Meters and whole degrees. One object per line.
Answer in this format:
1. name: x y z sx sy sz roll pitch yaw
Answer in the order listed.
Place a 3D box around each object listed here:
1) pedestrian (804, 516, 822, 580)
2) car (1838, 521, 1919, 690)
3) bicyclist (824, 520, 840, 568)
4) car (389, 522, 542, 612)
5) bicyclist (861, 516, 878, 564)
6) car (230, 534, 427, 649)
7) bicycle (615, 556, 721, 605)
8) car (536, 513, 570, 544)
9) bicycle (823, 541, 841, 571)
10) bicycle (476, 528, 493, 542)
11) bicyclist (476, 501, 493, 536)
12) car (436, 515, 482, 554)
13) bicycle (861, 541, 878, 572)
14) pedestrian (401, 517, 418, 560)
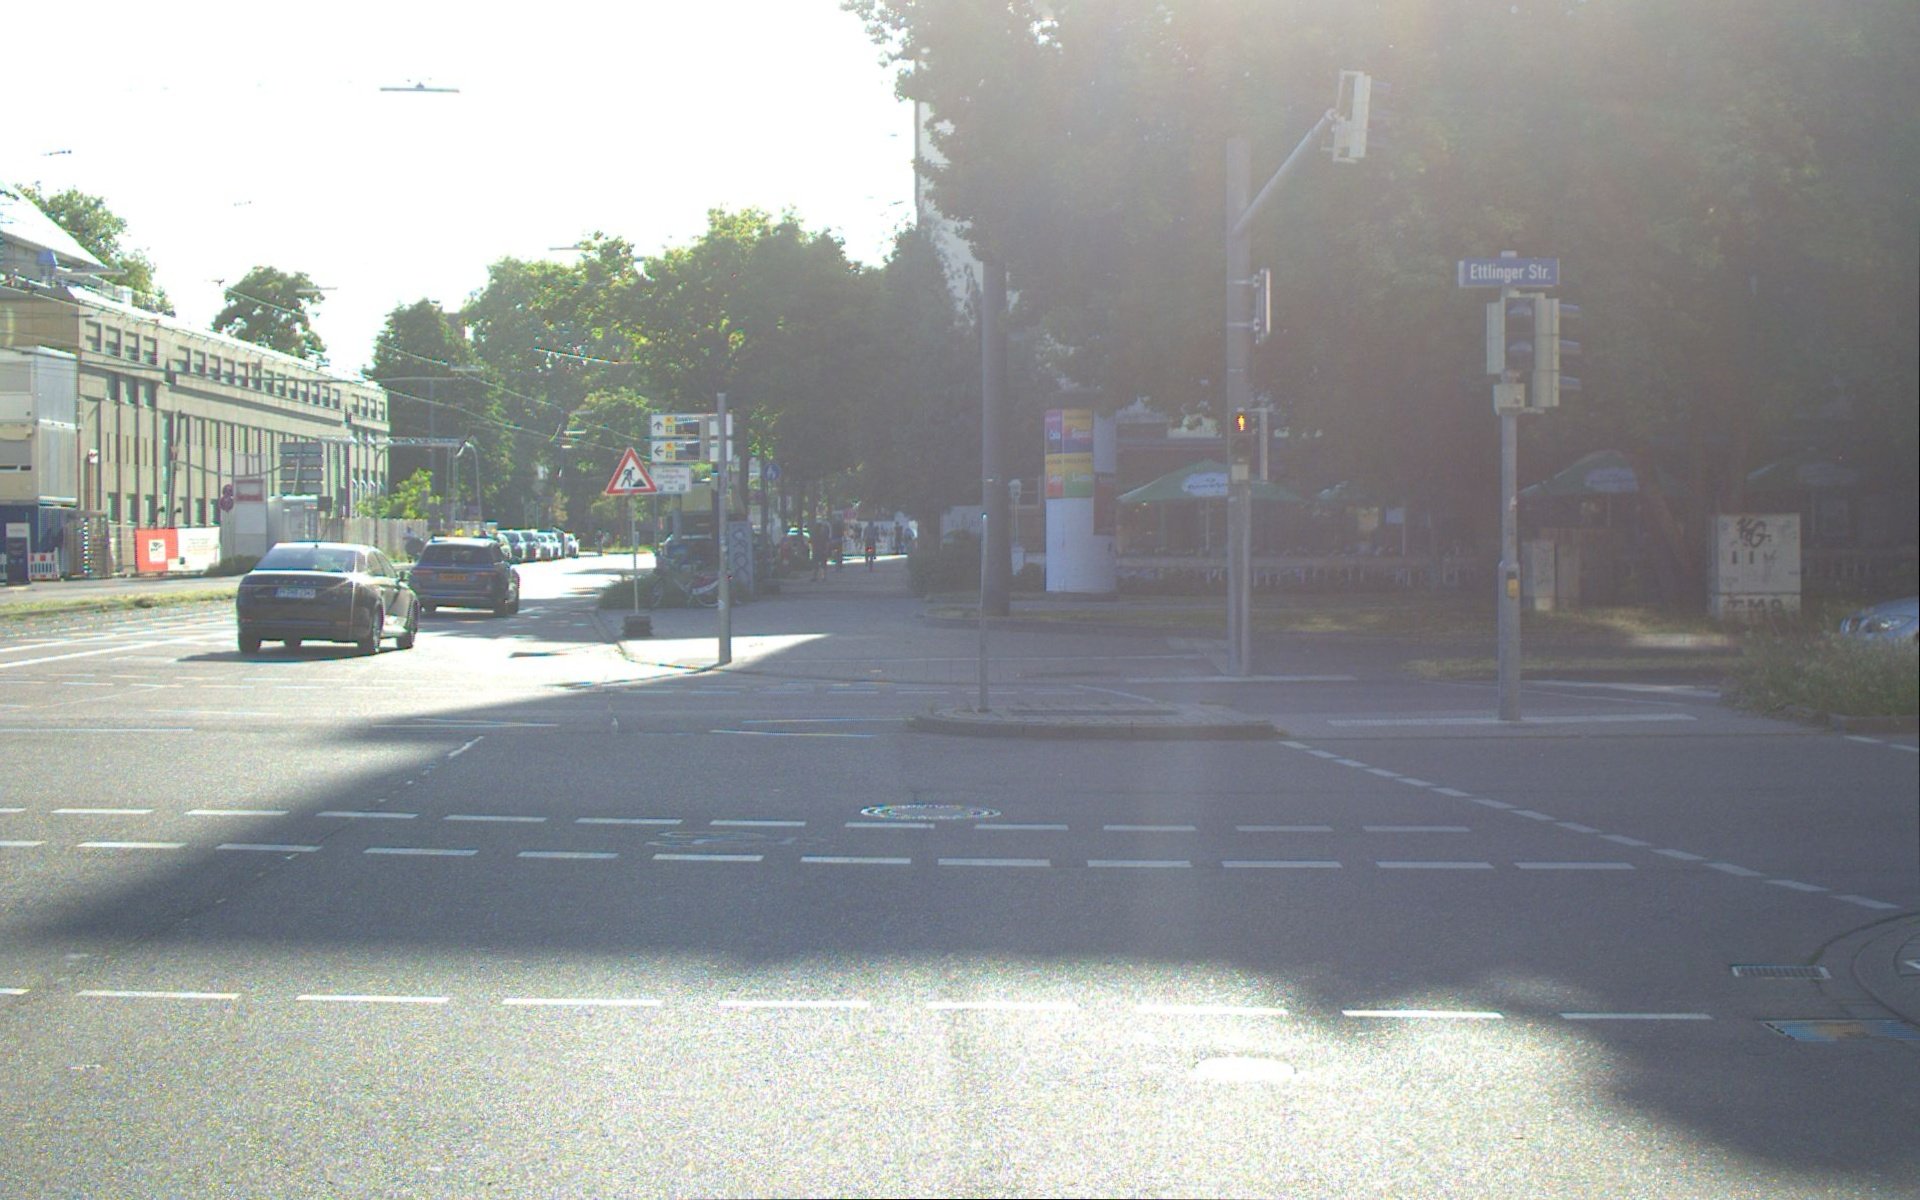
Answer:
1. pedestrian: -4.200 -1.480 98.233 0.463 1.807 0.503 -1 1 -5
2. car: 10.749 0.019 33.430 3.993 1.605 1.650 -1 1 -1
3. bicyclist: -4.556 -2.004 122.369 0.569 1.685 0.700 0 1 -1
4. car: -9.393 -0.660 65.617 1.892 1.560 4.807 3 1 3
5. bicyclist: -3.231 -2.145 122.570 0.569 1.685 0.700 0 1 -1
6. car: -8.404 -0.146 46.117 1.660 1.450 4.432 1 1 2
7. bicycle: -5.739 -0.388 67.498 2.018 0.888 0.650 -2 0 27
8. car: -23.036 -4.044 194.706 1.692 1.712 4.248 1 1 -4
9. bicycle: -4.552 -1.575 122.377 0.575 1.073 1.831 0 1 -1
10. bicycle: -18.553 -2.528 134.100 0.501 0.513 1.258 1 1 -1
11. bicyclist: -18.547 -3.184 134.131 0.596 1.372 0.638 1 0 -2
12. car: -22.793 -2.976 156.460 1.692 1.712 4.248 1 1 -4
13. bicycle: -3.233 -1.559 122.540 0.575 1.073 1.831 0 1 -1
14. pedestrian: -25.702 -2.859 160.619 0.674 2.007 0.751 1 0 -3
